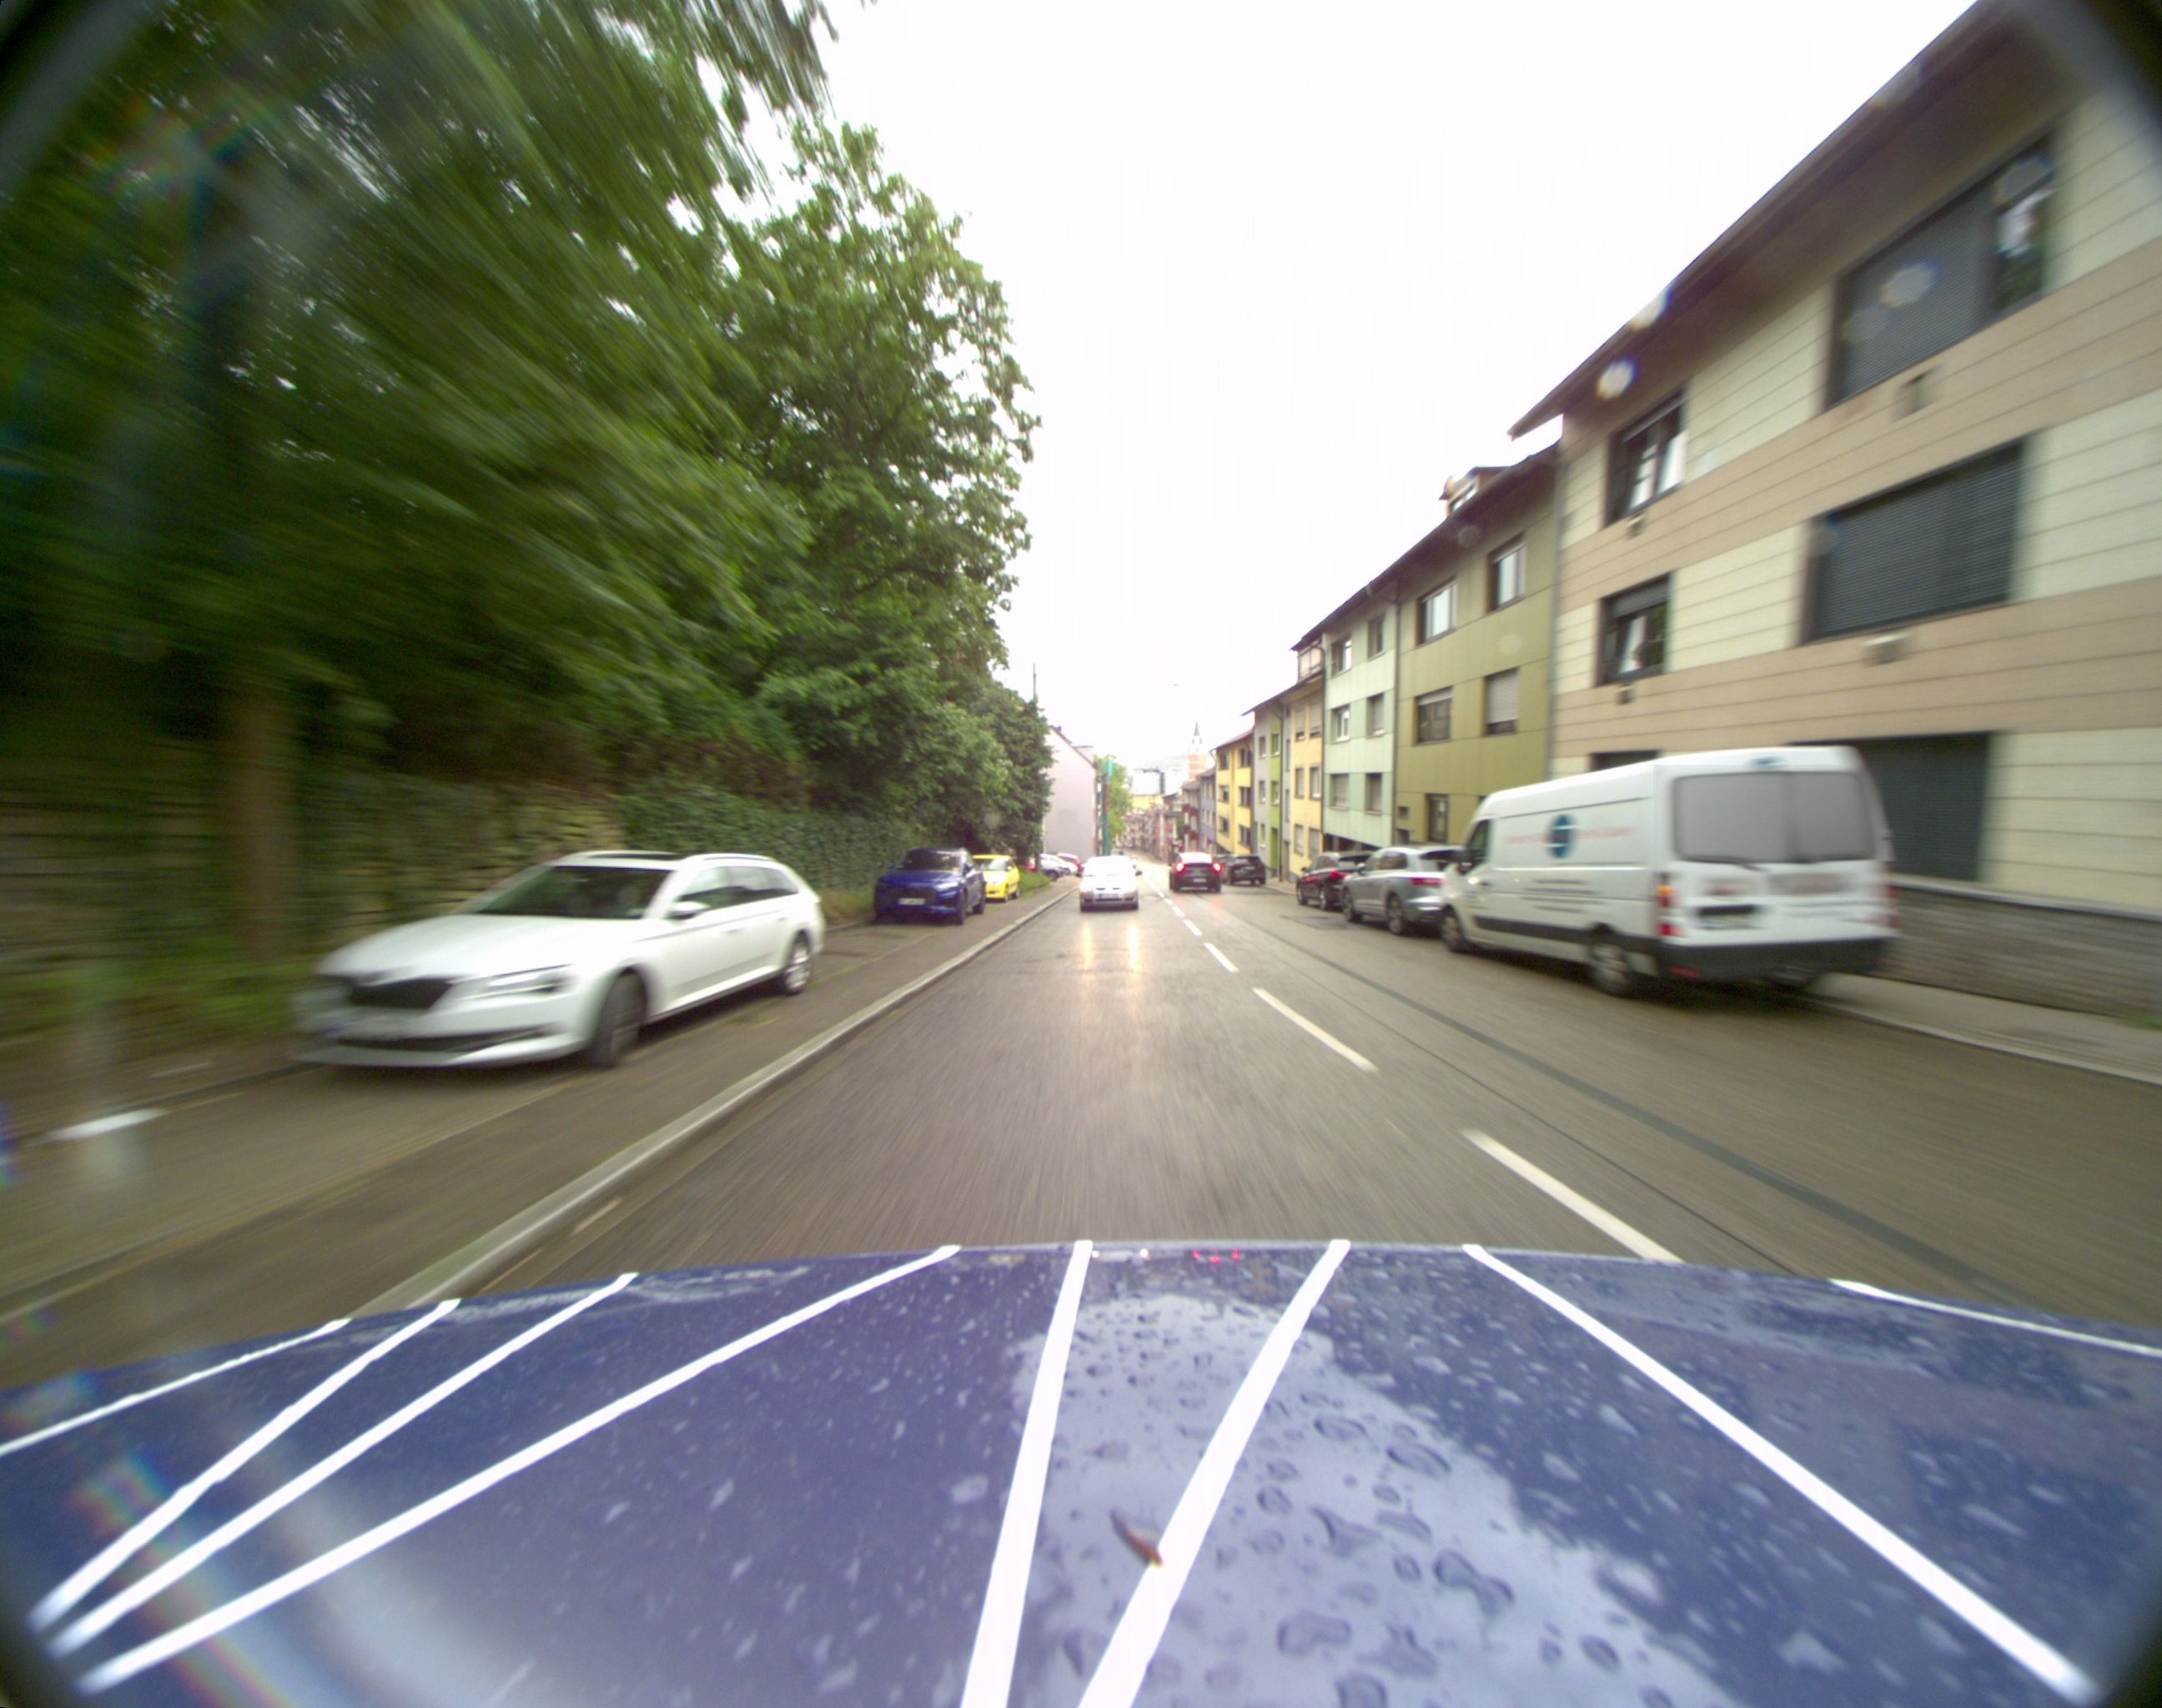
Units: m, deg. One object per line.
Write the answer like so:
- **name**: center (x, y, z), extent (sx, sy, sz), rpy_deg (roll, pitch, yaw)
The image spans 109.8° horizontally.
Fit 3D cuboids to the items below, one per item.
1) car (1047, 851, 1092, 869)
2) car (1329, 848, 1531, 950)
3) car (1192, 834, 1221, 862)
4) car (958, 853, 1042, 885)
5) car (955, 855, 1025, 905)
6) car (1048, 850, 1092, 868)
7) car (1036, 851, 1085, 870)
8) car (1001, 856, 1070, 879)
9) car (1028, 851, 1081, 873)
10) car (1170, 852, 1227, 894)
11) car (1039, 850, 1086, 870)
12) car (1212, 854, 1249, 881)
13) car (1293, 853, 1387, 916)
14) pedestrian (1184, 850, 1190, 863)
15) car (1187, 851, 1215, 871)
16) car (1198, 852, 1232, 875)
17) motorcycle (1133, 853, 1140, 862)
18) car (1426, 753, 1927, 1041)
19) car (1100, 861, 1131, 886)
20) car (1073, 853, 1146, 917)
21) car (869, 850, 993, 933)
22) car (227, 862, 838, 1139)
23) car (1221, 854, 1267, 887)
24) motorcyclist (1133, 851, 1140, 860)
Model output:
- **car**: center (-1.084, 0.530, 73.995), extent (4.192, 1.565, 1.804), rpy_deg (2, 1, 3)
- **car**: center (6.848, 0.776, 15.628), extent (1.970, 1.729, 4.885), rpy_deg (1, 0, 1)
- **car**: center (12.206, -0.593, 74.345), extent (2.122, 2.536, 5.445), rpy_deg (1, 0, 3)
- **car**: center (-4.302, 0.771, 40.688), extent (4.192, 1.584, 1.804), rpy_deg (-1, 1, 3)
- **car**: center (-2.908, 0.786, 24.988), extent (1.567, 1.458, 3.899), rpy_deg (2, 0, 4)
- **car**: center (-1.069, 0.506, 76.255), extent (4.192, 1.565, 1.804), rpy_deg (2, 1, 3)
- **car**: center (-1.787, 0.562, 67.674), extent (4.192, 1.565, 1.804), rpy_deg (2, 1, 3)
- **car**: center (-2.848, 0.843, 48.312), extent (4.192, 1.408, 1.804), rpy_deg (1, 1, 3)
- **car**: center (-2.194, 0.658, 62.867), extent (4.192, 1.565, 1.804), rpy_deg (2, 1, 3)
- **car**: center (4.887, 0.742, 32.141), extent (1.940, 1.615, 4.500), rpy_deg (0, 0, 4)
- **car**: center (-1.661, 0.497, 70.159), extent (4.192, 1.635, 1.803), rpy_deg (2, 1, 3)
- **car**: center (9.154, 0.806, 46.796), extent (1.687, 1.584, 4.056), rpy_deg (0, 0, 3)
- **car**: center (7.289, 0.788, 21.801), extent (1.414, 1.605, 4.384), rpy_deg (1, 0, 3)
- **pedestrian**: center (13.941, 0.330, 99.878), extent (0.805, 1.608, 0.455), rpy_deg (-1, 1, 5)
- **car**: center (9.970, 0.562, 63.516), extent (1.908, 1.647, 4.329), rpy_deg (0, 0, 3)
- **car**: center (9.479, 0.630, 53.933), extent (1.908, 1.528, 4.001), rpy_deg (0, 0, 3)
- **motorcycle**: center (7.062, 0.467, 96.535), extent (0.778, 1.120, 2.300), rpy_deg (-2, 1, 5)
- **car**: center (6.552, 0.370, 9.530), extent (2.122, 2.536, 5.445), rpy_deg (1, 0, 3)
- **car**: center (2.355, 1.310, 52.416), extent (1.998, 1.603, 3.967), rpy_deg (-1, 0, 2)
- **car**: center (0.930, 0.828, 22.087), extent (1.825, 1.603, 4.190), rpy_deg (-2, 0, 6)
- **car**: center (-3.296, 0.747, 17.640), extent (1.769, 1.614, 4.679), rpy_deg (0, 1, 2)
- **car**: center (-3.941, 0.863, 6.736), extent (1.742, 1.469, 4.741), rpy_deg (1, 0, 4)
- **car**: center (8.405, 0.812, 39.439), extent (1.696, 1.584, 4.000), rpy_deg (0, 0, 2)
- **motorcyclist**: center (7.051, 0.230, 96.494), extent (0.778, 1.120, 0.549), rpy_deg (-3, 1, 5)
